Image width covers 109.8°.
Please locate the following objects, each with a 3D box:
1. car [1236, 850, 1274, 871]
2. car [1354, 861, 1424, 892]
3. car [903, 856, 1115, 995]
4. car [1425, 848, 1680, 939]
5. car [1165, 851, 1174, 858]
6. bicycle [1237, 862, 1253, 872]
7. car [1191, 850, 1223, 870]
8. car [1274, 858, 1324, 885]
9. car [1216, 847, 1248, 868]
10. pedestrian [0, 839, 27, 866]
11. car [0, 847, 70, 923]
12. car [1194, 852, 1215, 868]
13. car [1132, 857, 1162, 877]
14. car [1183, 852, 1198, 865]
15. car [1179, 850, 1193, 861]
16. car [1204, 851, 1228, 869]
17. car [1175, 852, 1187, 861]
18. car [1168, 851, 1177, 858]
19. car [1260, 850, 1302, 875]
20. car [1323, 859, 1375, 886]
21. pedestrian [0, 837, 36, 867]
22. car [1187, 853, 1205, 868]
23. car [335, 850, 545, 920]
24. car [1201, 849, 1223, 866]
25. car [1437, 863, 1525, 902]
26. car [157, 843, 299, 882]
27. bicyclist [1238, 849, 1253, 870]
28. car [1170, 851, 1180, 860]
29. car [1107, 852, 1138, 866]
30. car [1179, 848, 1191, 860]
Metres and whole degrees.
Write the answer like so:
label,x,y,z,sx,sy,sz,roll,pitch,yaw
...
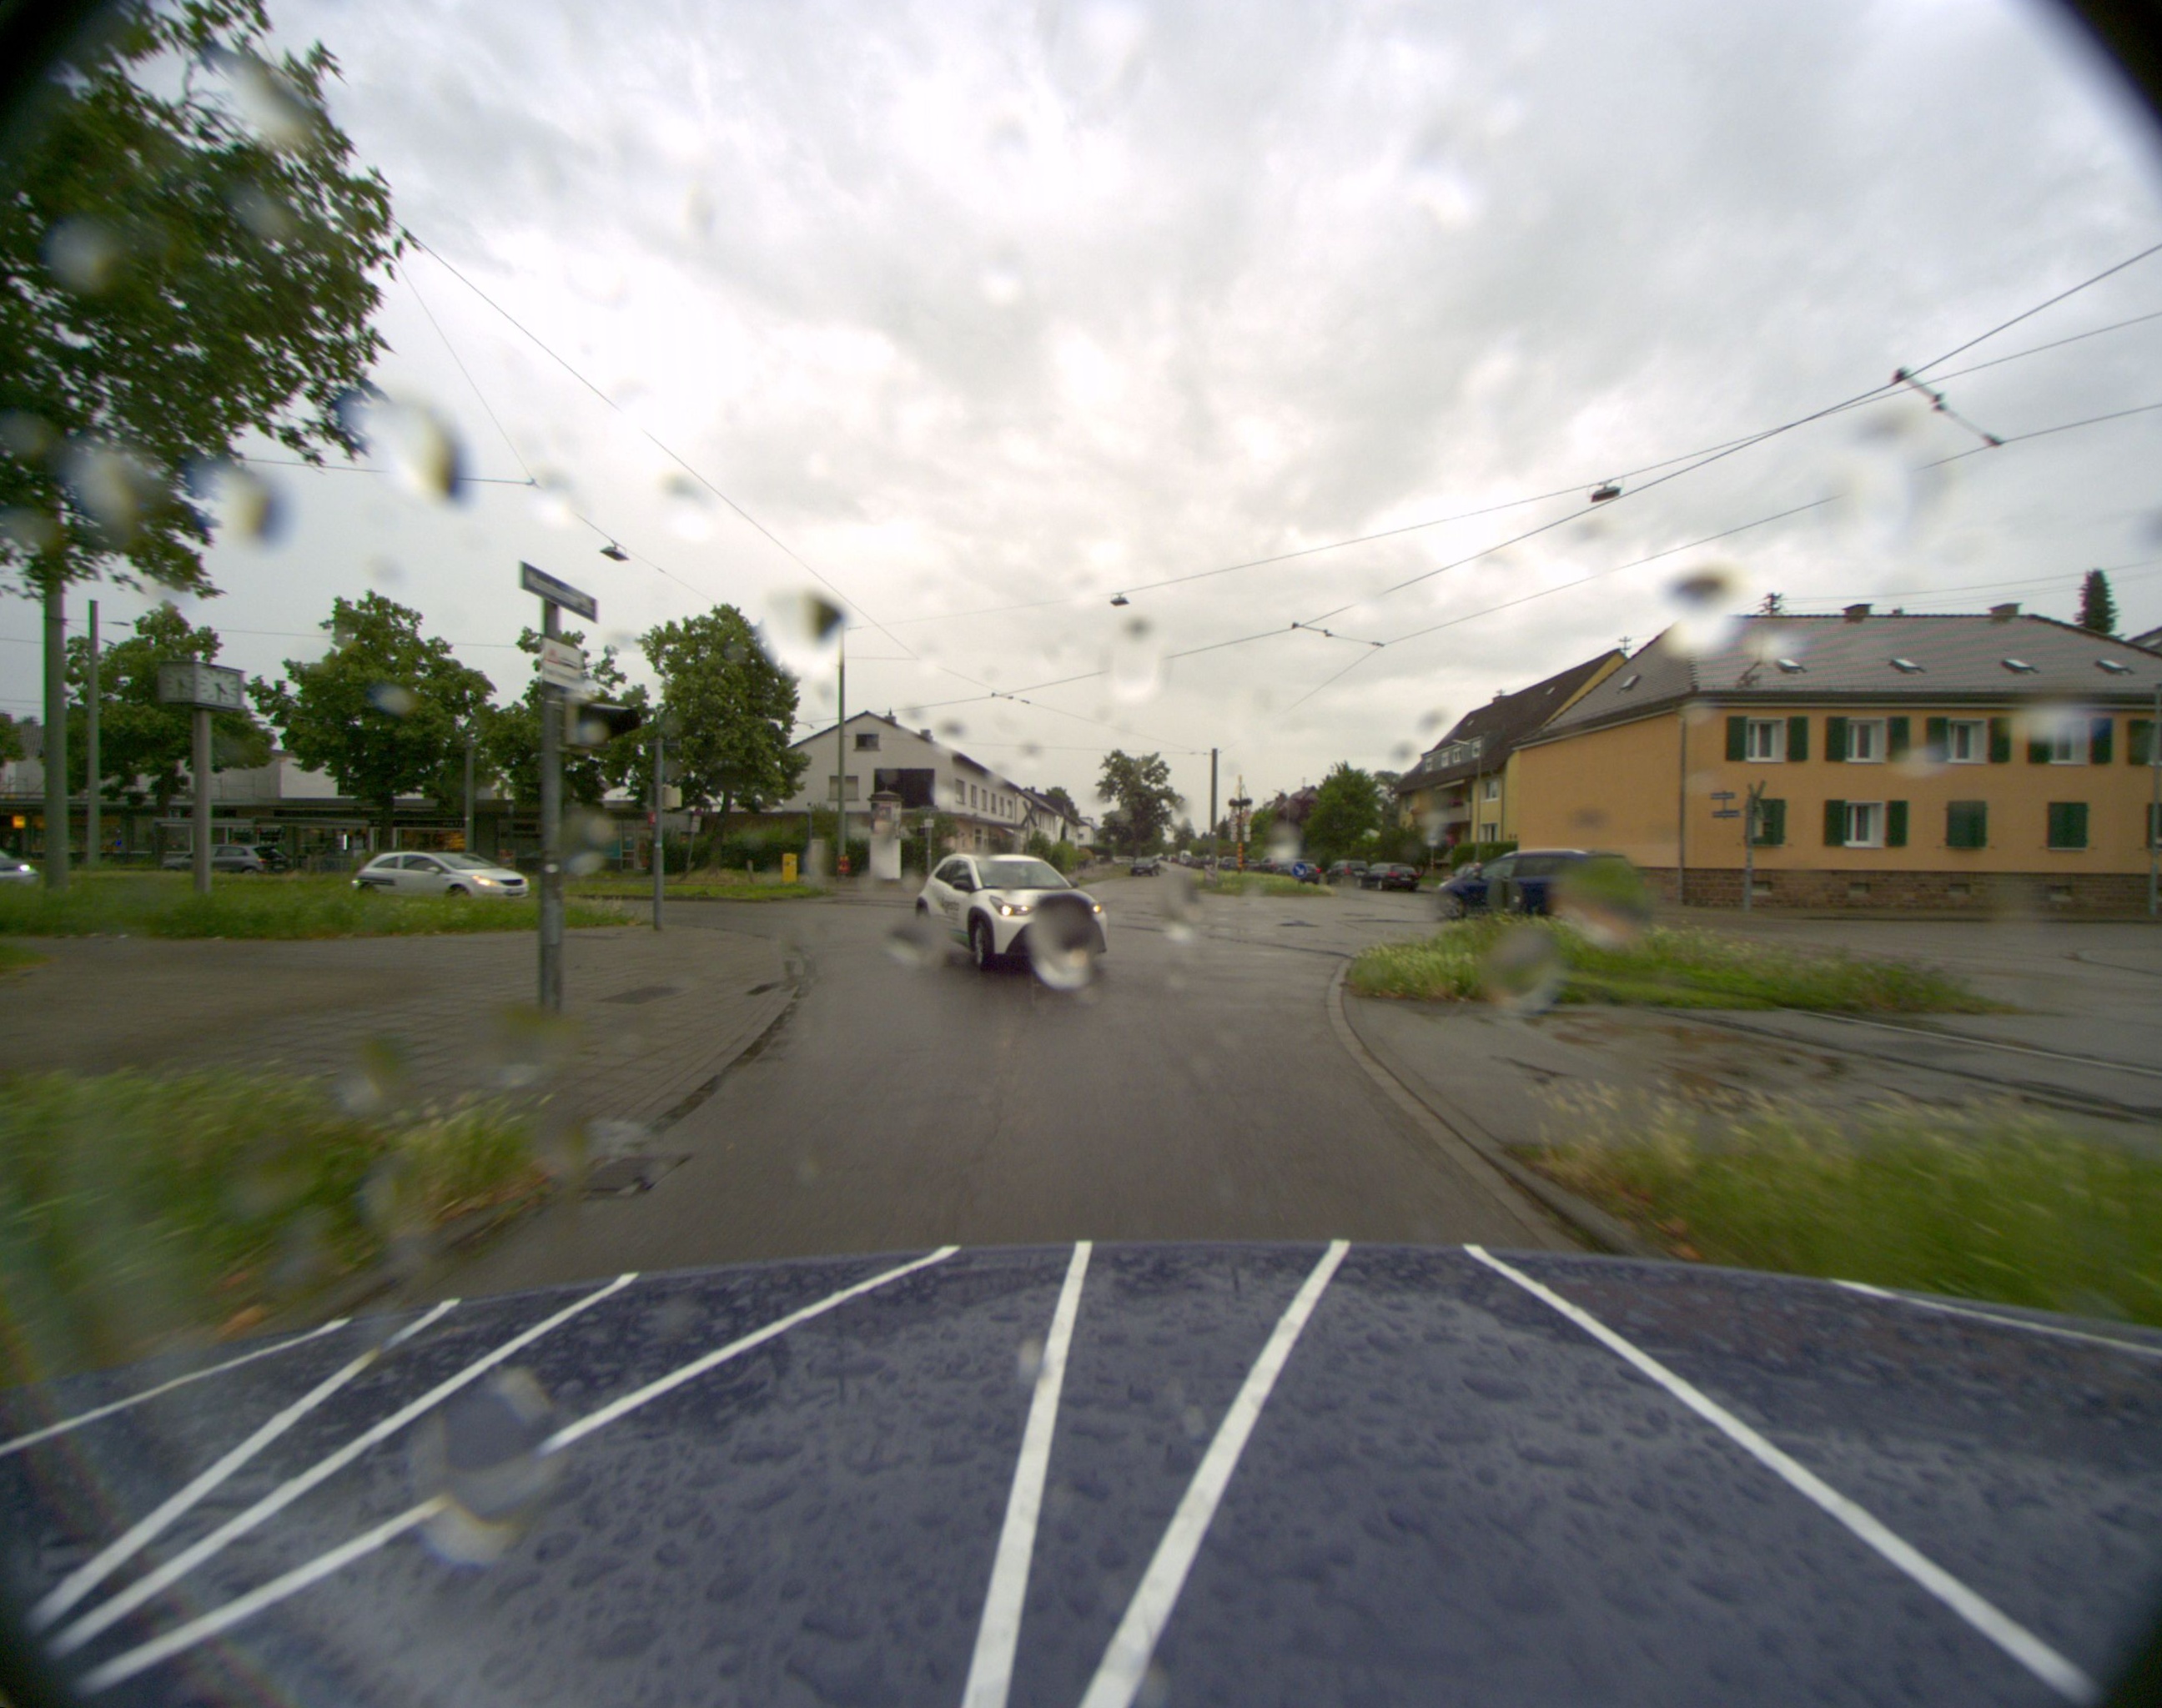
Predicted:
label,x,y,z,sx,sy,sz,roll,pitch,yaw
car,14.910,0.521,65.353,1.999,1.565,4.123,0,2,-4
car,16.194,1.146,40.160,1.965,1.388,4.505,1,1,2
car,-1.234,0.881,11.260,1.723,1.614,3.706,-2,1,-29
car,10.252,0.733,17.031,2.002,1.597,4.563,0,3,-20
car,23.537,0.086,202.034,1.998,1.784,3.999,1,2,2
bicycle,13.164,1.069,60.892,0.941,0.782,1.820,1,0,2
car,9.801,0.435,59.403,1.998,1.467,4.001,1,0,2
car,12.964,1.004,45.459,1.998,1.467,4.001,1,0,2
car,14.252,0.283,71.895,1.999,1.784,3.997,0,2,-3
pedestrian,-63.667,-0.100,45.064,0.946,1.575,1.081,2,1,16
car,-31.330,0.825,21.098,3.996,2.003,2.000,1,3,4
car,15.520,0.756,95.657,1.998,1.784,3.999,1,2,2
car,5.434,1.033,62.305,1.786,1.454,4.003,1,2,14
car,17.087,0.653,118.641,1.998,1.784,3.999,1,2,2
car,17.798,0.228,129.329,1.998,1.784,3.999,1,2,2
car,14.736,0.651,82.869,1.998,1.784,3.999,1,2,2
car,20.875,0.486,158.645,1.998,1.784,3.999,1,2,2
car,23.636,0.119,195.509,1.998,1.784,3.999,1,2,2
car,15.653,0.637,59.709,1.999,1.784,3.997,0,2,-3
car,16.154,1.080,45.924,1.758,1.325,3.998,1,2,1
pedestrian,-62.565,-0.114,44.652,0.946,1.704,1.081,2,1,16
car,16.077,0.880,106.268,1.998,1.784,3.999,1,2,2
car,-16.905,0.778,20.186,3.996,1.544,1.964,2,1,4
car,15.519,0.361,90.253,1.998,1.784,3.999,1,2,2
car,16.273,1.116,31.095,1.721,1.331,3.615,1,2,1
car,-35.067,0.333,31.321,3.624,1.495,1.549,0,3,-12
bicyclist,13.159,0.446,60.827,0.949,1.588,1.042,1,0,2
car,22.032,0.360,177.506,1.998,1.784,3.999,1,2,2
car,5.376,0.689,99.518,3.996,1.673,1.999,1,3,2
car,18.650,-0.010,136.544,1.998,2.023,4.000,1,2,4
